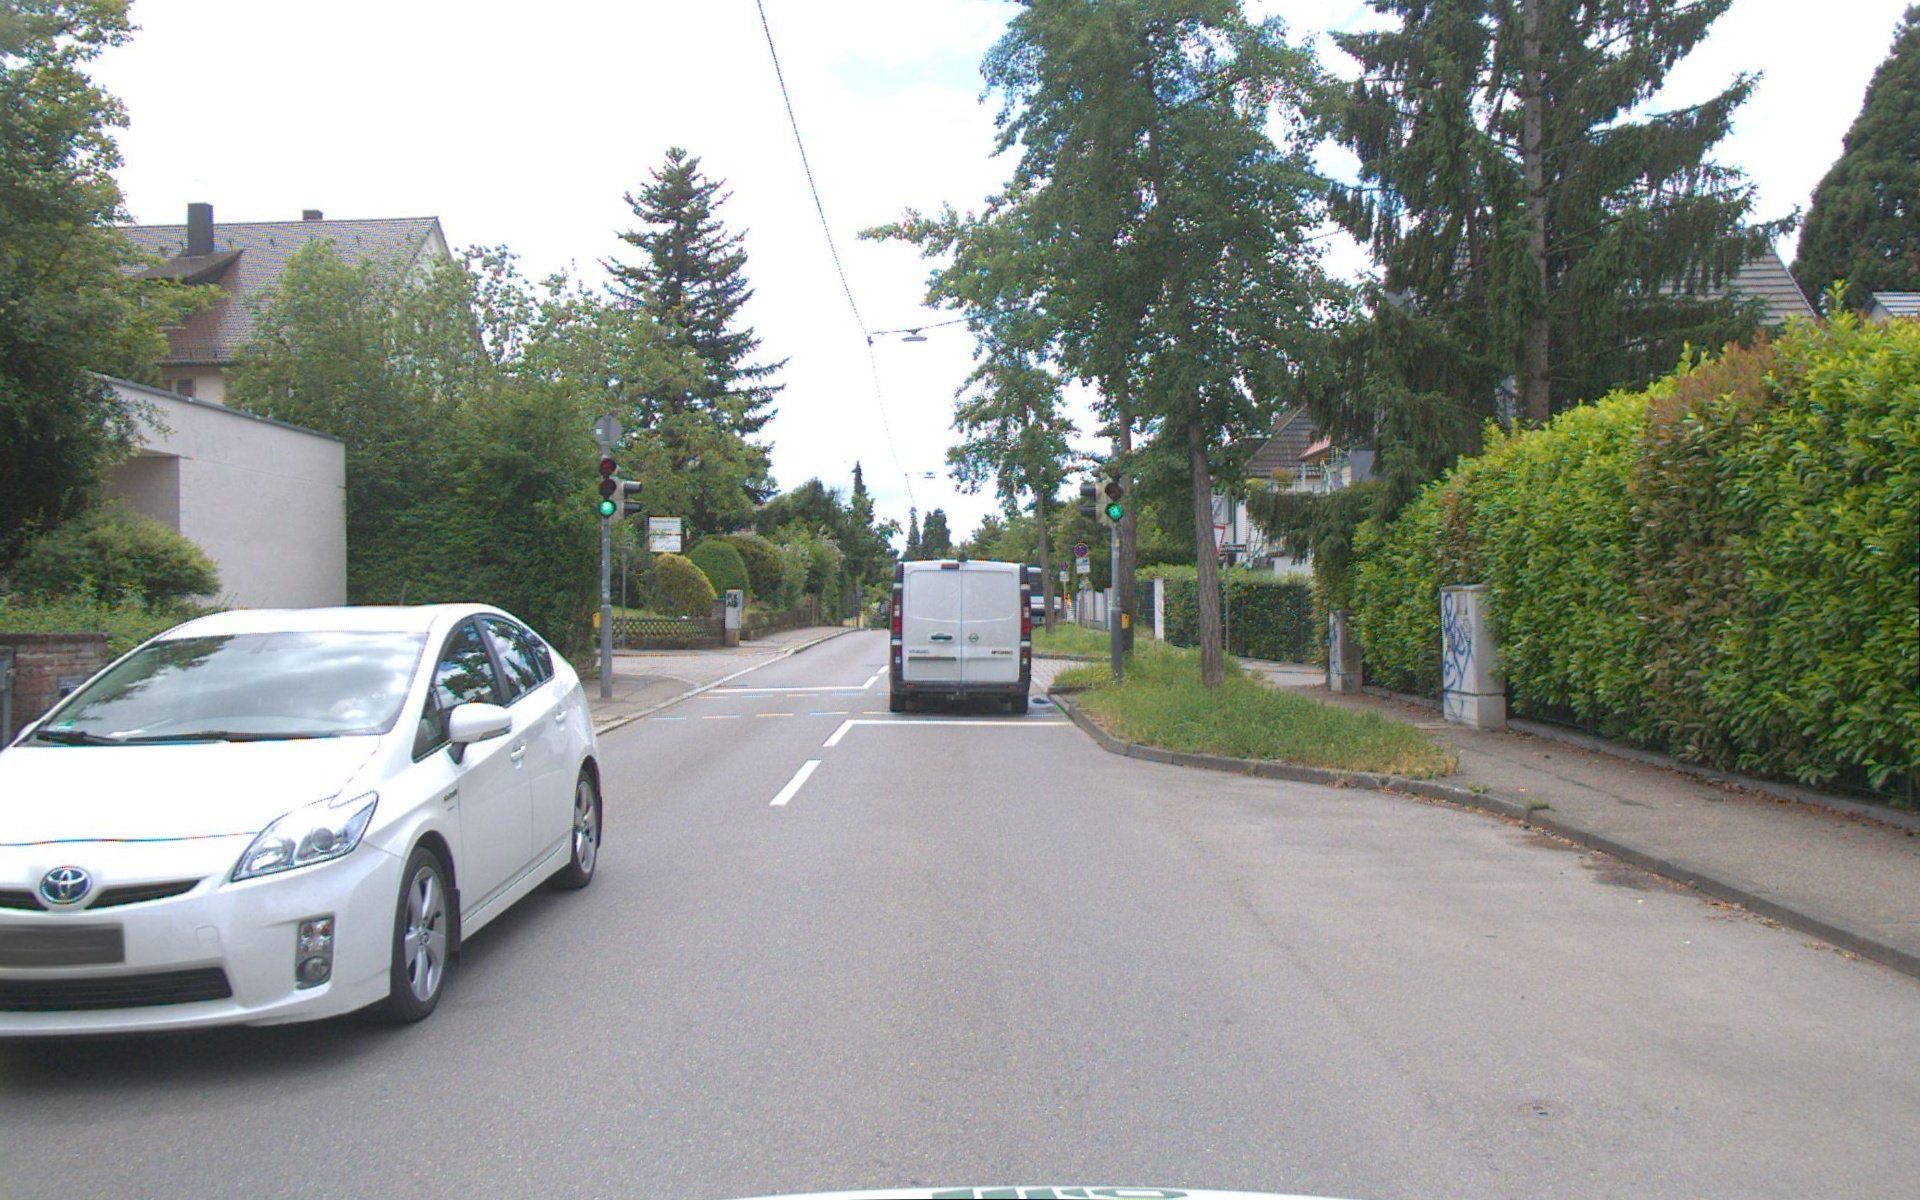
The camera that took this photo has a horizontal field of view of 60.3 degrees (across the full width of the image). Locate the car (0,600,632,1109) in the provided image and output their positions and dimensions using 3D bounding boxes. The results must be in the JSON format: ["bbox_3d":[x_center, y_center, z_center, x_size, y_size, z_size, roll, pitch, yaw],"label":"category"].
[{"bbox_3d":[-2.724,0.782,7.146,1.817,1.476,4.280,-2,0,-2],"label":"car"}]

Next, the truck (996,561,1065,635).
[{"bbox_3d":[2.500,-0.073,60.637,2.142,2.515,7.429,1,0,0],"label":"truck"}]

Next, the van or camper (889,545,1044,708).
[{"bbox_3d":[0.051,0.378,22.831,1.900,1.988,4.763,1,-1,-1],"label":"van or camper"}]
